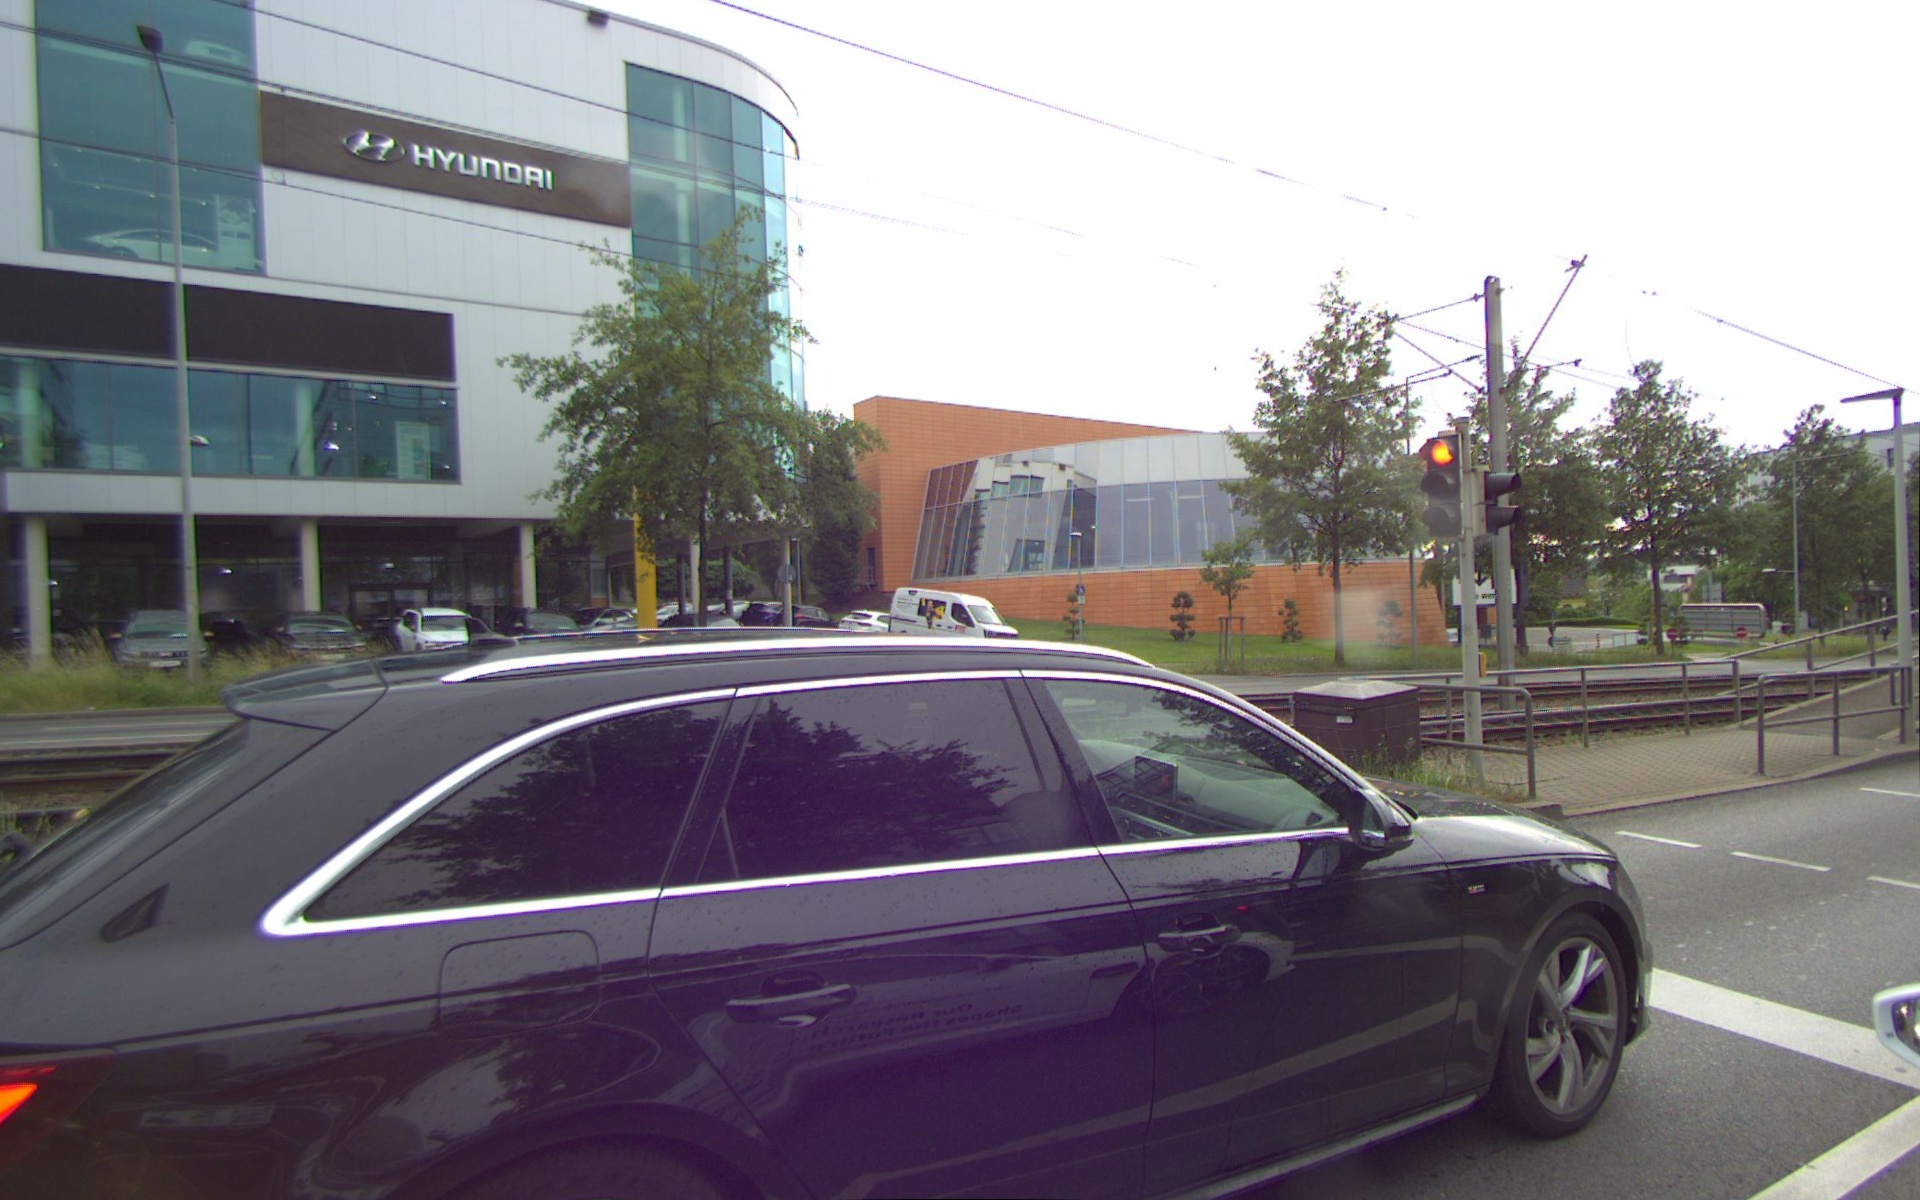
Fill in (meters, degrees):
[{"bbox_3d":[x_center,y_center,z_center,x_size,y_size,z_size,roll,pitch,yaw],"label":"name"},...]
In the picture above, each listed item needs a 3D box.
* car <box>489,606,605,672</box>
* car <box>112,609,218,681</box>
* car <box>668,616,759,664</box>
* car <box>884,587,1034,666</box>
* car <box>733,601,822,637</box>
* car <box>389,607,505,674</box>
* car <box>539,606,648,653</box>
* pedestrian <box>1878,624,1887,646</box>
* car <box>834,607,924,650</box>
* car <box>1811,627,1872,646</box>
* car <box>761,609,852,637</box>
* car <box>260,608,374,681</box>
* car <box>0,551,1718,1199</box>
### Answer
[{"bbox_3d":[-12.348,1.100,29.895,1.984,1.637,4.324,1,1,-40],"label":"car"},{"bbox_3d":[-19.867,1.060,25.067,1.917,1.479,3.974,1,1,-40],"label":"car"},{"bbox_3d":[-7.842,1.215,31.783,1.565,1.409,3.619,0,-1,-36],"label":"car"},{"bbox_3d":[-0.119,0.917,38.111,5.544,2.616,2.392,3,1,43],"label":"car"},{"bbox_3d":[-8.867,0.913,49.081,1.969,1.653,3.982,0,-1,39],"label":"car"},{"bbox_3d":[-14.500,1.076,28.249,1.984,1.571,4.324,1,1,-40],"label":"car"},{"bbox_3d":[-12.832,1.014,35.342,1.691,1.572,3.587,0,-1,20],"label":"car"},{"bbox_3d":[79.513,3.019,86.560,0.484,1.946,0.473,1,0,-30],"label":"pedestrian"},{"bbox_3d":[-3.339,1.164,42.161,1.703,1.688,3.734,1,-1,38],"label":"car"},{"bbox_3d":[67.371,2.763,76.801,1.408,1.405,3.371,0,0,-13],"label":"car"},{"bbox_3d":[-7.216,1.067,47.516,1.969,1.297,3.982,0,-1,39],"label":"car"},{"bbox_3d":[-16.958,1.107,26.393,1.984,1.571,4.324,1,1,-40],"label":"car"},{"bbox_3d":[0.088,0.722,2.868,4.461,1.486,1.772,1,-1,-31],"label":"car"}]
